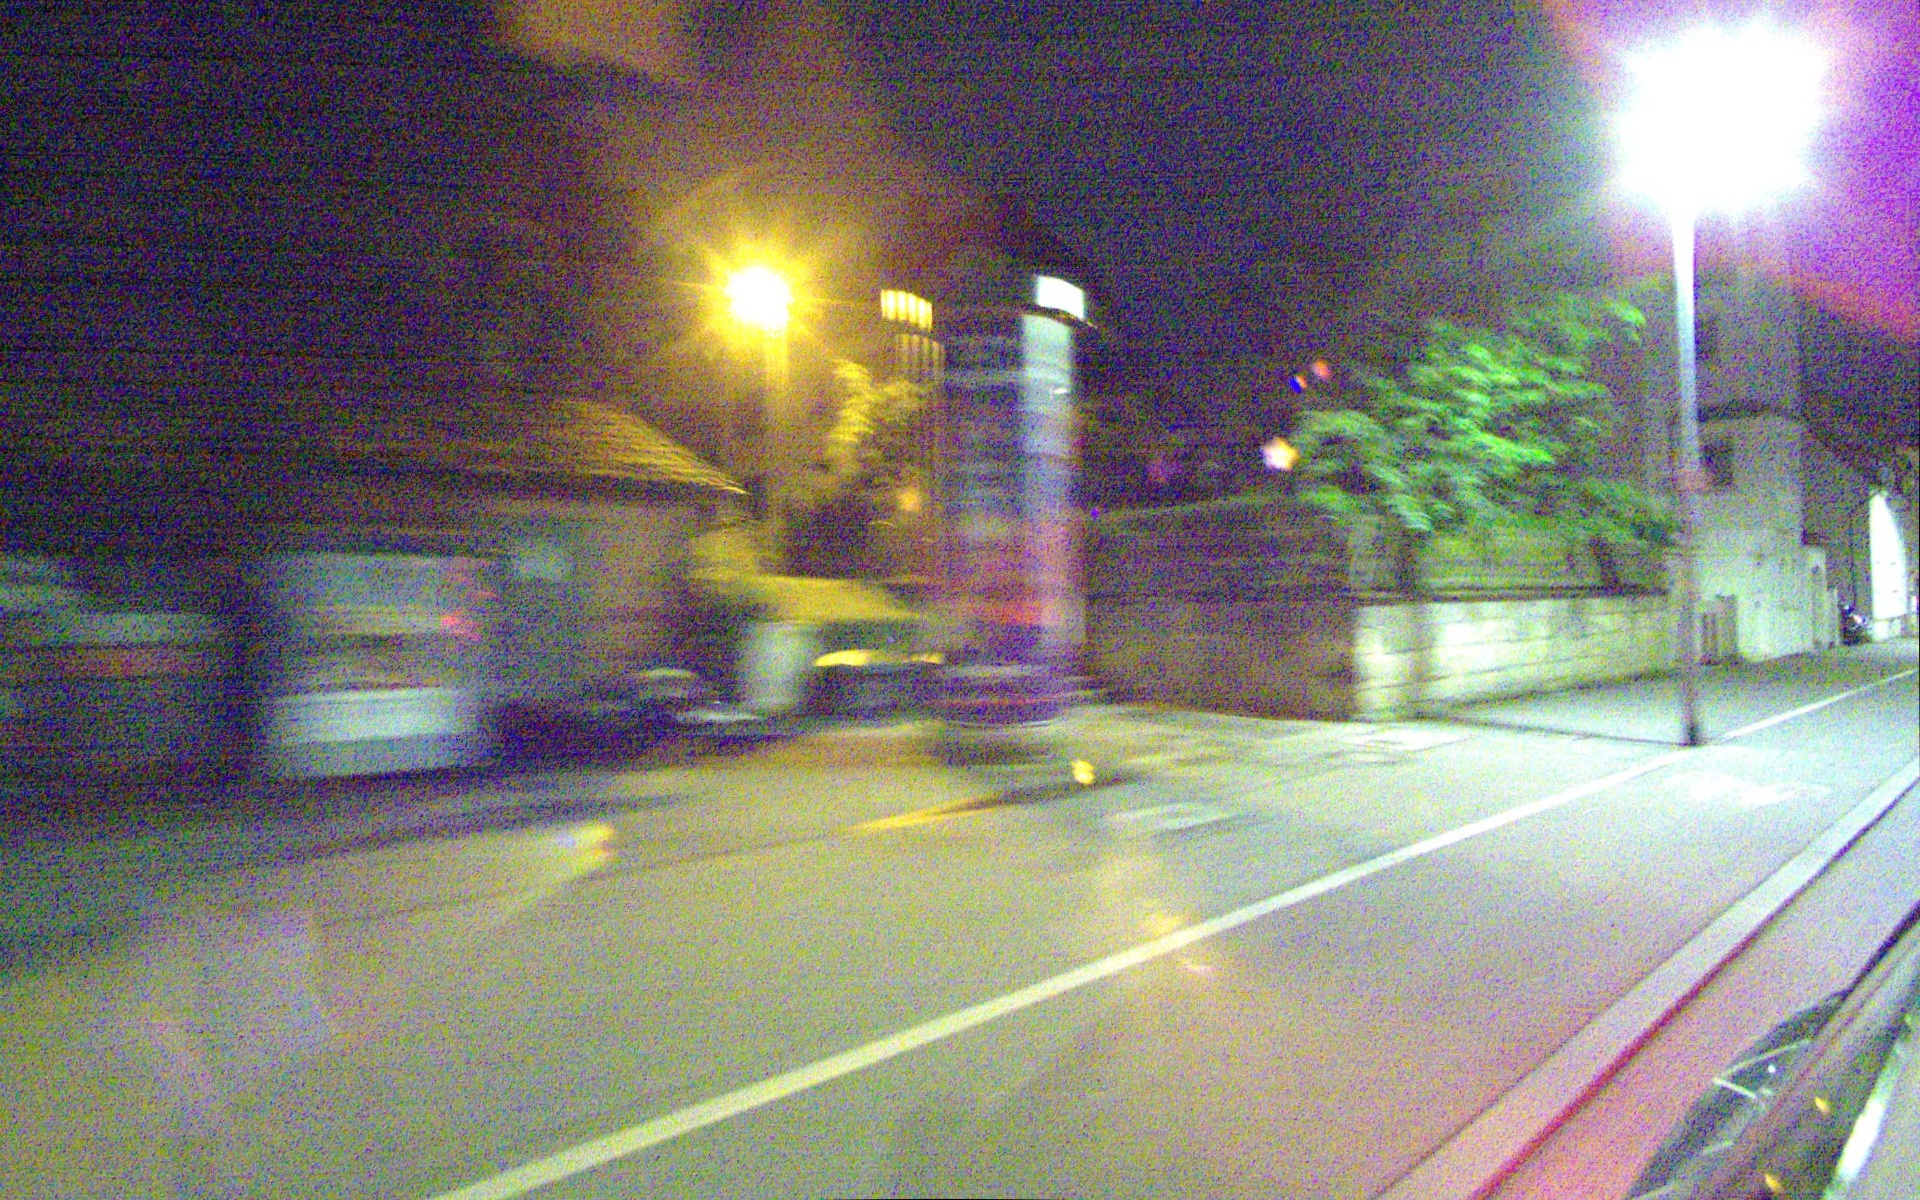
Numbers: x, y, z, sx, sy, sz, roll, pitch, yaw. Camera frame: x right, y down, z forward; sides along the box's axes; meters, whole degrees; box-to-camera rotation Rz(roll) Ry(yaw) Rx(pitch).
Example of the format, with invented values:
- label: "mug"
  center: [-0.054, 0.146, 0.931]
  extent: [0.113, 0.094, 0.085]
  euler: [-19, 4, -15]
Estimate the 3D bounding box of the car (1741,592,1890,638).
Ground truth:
- label: "car"
  center: [29.924, 0.511, 35.486]
  extent: [1.699, 1.492, 3.721]
  euler: [-1, 0, -37]
